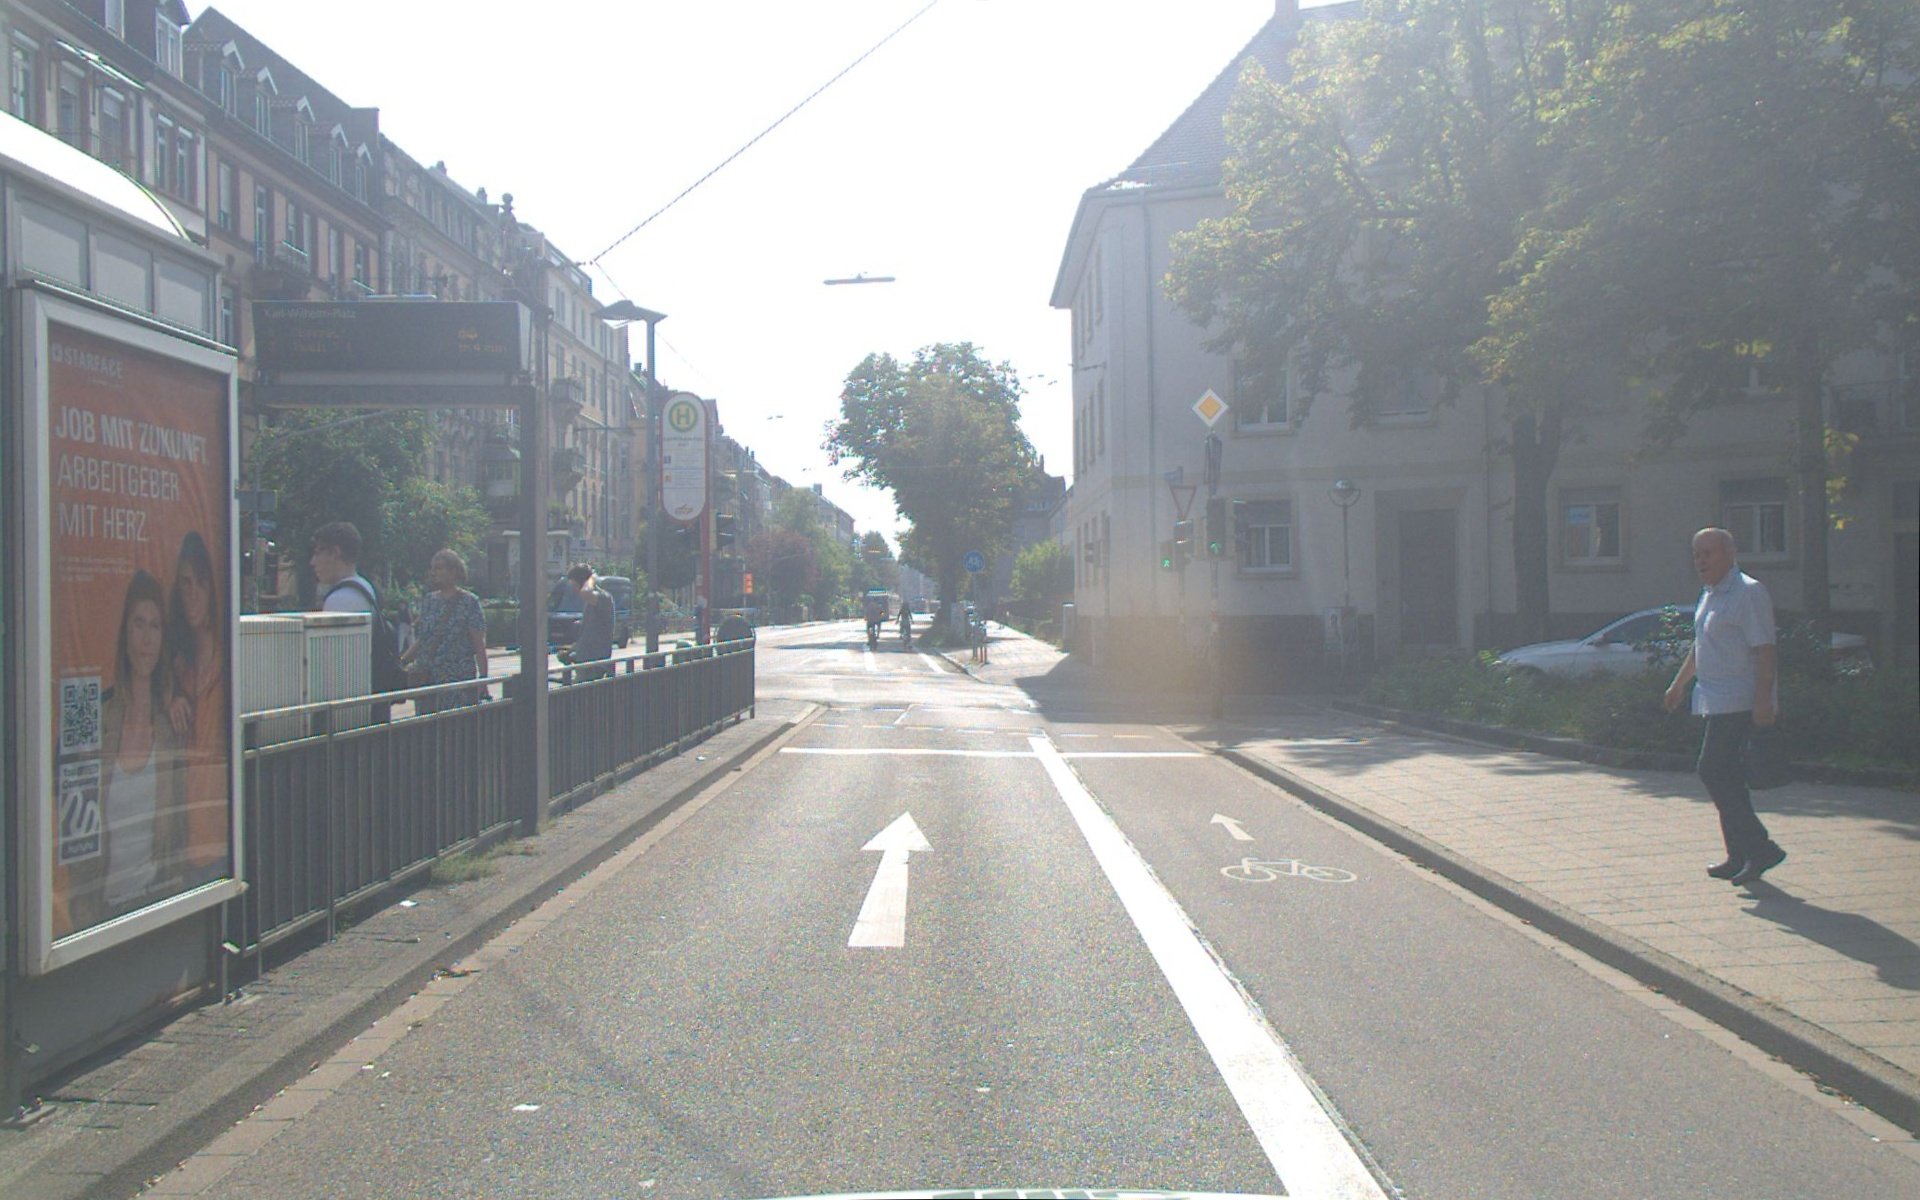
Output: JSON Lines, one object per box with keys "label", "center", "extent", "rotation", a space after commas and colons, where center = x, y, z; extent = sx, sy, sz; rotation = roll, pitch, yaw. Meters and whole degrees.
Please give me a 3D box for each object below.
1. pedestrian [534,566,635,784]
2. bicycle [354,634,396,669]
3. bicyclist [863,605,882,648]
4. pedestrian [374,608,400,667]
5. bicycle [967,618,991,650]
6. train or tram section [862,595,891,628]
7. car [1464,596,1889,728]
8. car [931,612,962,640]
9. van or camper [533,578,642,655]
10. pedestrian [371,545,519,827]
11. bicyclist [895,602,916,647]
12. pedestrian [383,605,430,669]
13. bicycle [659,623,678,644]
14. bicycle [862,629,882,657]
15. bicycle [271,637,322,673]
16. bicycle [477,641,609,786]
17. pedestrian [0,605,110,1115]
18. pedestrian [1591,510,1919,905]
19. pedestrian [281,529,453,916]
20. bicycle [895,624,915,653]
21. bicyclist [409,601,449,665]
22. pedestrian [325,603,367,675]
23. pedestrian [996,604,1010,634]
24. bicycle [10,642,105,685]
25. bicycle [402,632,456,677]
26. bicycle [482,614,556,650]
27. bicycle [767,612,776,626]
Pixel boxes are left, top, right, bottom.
{"label": "pedestrian", "center": [-3.183, 0.622, 14.069], "extent": [0.675, 1.797, 0.796], "rotation": [-1, -1, -1]}
{"label": "bicycle", "center": [-17.034, 1.493, 48.180], "extent": [0.515, 0.944, 1.703], "rotation": [-1, 0, 3]}
{"label": "bicyclist", "center": [-2.987, 0.907, 56.523], "extent": [0.613, 1.425, 0.929], "rotation": [1, -1, -1]}
{"label": "pedestrian", "center": [-16.876, 1.092, 48.736], "extent": [0.625, 1.708, 0.632], "rotation": [-1, -1, -12]}
{"label": "bicycle", "center": [0.683, 1.252, 61.270], "extent": [0.756, 1.123, 2.332], "rotation": [-1, 0, -2]}
{"label": "train or tram section", "center": [-9.547, 1.358, 189.727], "extent": [2.679, 3.567, 15.429], "rotation": [0, -1, -1]}
{"label": "car", "center": [9.443, 0.791, 22.053], "extent": [4.863, 1.494, 1.867], "rotation": [-2, 2, 41]}
{"label": "car", "center": [-0.752, 1.455, 93.051], "extent": [1.612, 1.473, 4.245], "rotation": [-3, -1, 0]}
{"label": "van or camper", "center": [-13.898, 0.650, 62.112], "extent": [2.007, 2.691, 6.093], "rotation": [-2, -1, 7]}
{"label": "pedestrian", "center": [-3.376, 0.548, 10.886], "extent": [0.752, 1.791, 0.680], "rotation": [-1, -1, -2]}
{"label": "bicyclist", "center": [-1.814, 0.816, 55.107], "extent": [0.641, 1.500, 0.908], "rotation": [1, -1, -1]}
{"label": "pedestrian", "center": [-15.943, 1.052, 47.673], "extent": [0.886, 1.797, 1.186], "rotation": [-1, -1, 3]}
{"label": "bicycle", "center": [-15.834, 1.809, 89.889], "extent": [0.594, 1.077, 1.840], "rotation": [3, -1, 1]}
{"label": "bicycle", "center": [-3.013, 1.462, 56.503], "extent": [0.613, 0.925, 1.524], "rotation": [1, -1, -1]}
{"label": "bicycle", "center": [-17.469, 1.434, 43.574], "extent": [0.515, 0.875, 1.829], "rotation": [-1, 0, 3]}
{"label": "bicycle", "center": [-3.537, 0.934, 14.158], "extent": [0.462, 1.123, 1.739], "rotation": [-1, 0, 8]}
{"label": "pedestrian", "center": [-2.983, 0.720, 4.825], "extent": [0.672, 1.402, 0.622], "rotation": [-1, 0, 0]}
{"label": "pedestrian", "center": [3.944, 0.493, 8.201], "extent": [0.953, 1.754, 1.073], "rotation": [-4, -1, -22]}
{"label": "pedestrian", "center": [-2.944, 0.583, 8.265], "extent": [0.591, 1.838, 0.730], "rotation": [-1, -1, -1]}
{"label": "bicycle", "center": [-1.829, 1.277, 55.115], "extent": [0.641, 0.925, 1.774], "rotation": [1, -1, -1]}
{"label": "bicyclist", "center": [-13.921, 0.857, 43.386], "extent": [0.659, 1.642, 1.044], "rotation": [-1, -1, 2]}
{"label": "pedestrian", "center": [-16.012, 1.015, 43.151], "extent": [0.713, 1.838, 1.093], "rotation": [-1, -1, -2]}
{"label": "pedestrian", "center": [2.574, 1.138, 98.320], "extent": [0.736, 1.779, 0.879], "rotation": [-1, -1, 6]}
{"label": "bicycle", "center": [-20.193, 1.410, 37.042], "extent": [0.518, 0.875, 1.820], "rotation": [-1, 0, 38]}
{"label": "bicycle", "center": [-13.924, 1.409, 43.413], "extent": [0.670, 1.123, 2.070], "rotation": [-1, 0, 2]}
{"label": "bicycle", "center": [-18.357, 1.311, 68.890], "extent": [2.820, 1.480, 0.996], "rotation": [0, -1, -7]}
{"label": "bicycle", "center": [-15.736, 1.568, 137.965], "extent": [0.498, 1.127, 2.003], "rotation": [-1, -1, 0]}
